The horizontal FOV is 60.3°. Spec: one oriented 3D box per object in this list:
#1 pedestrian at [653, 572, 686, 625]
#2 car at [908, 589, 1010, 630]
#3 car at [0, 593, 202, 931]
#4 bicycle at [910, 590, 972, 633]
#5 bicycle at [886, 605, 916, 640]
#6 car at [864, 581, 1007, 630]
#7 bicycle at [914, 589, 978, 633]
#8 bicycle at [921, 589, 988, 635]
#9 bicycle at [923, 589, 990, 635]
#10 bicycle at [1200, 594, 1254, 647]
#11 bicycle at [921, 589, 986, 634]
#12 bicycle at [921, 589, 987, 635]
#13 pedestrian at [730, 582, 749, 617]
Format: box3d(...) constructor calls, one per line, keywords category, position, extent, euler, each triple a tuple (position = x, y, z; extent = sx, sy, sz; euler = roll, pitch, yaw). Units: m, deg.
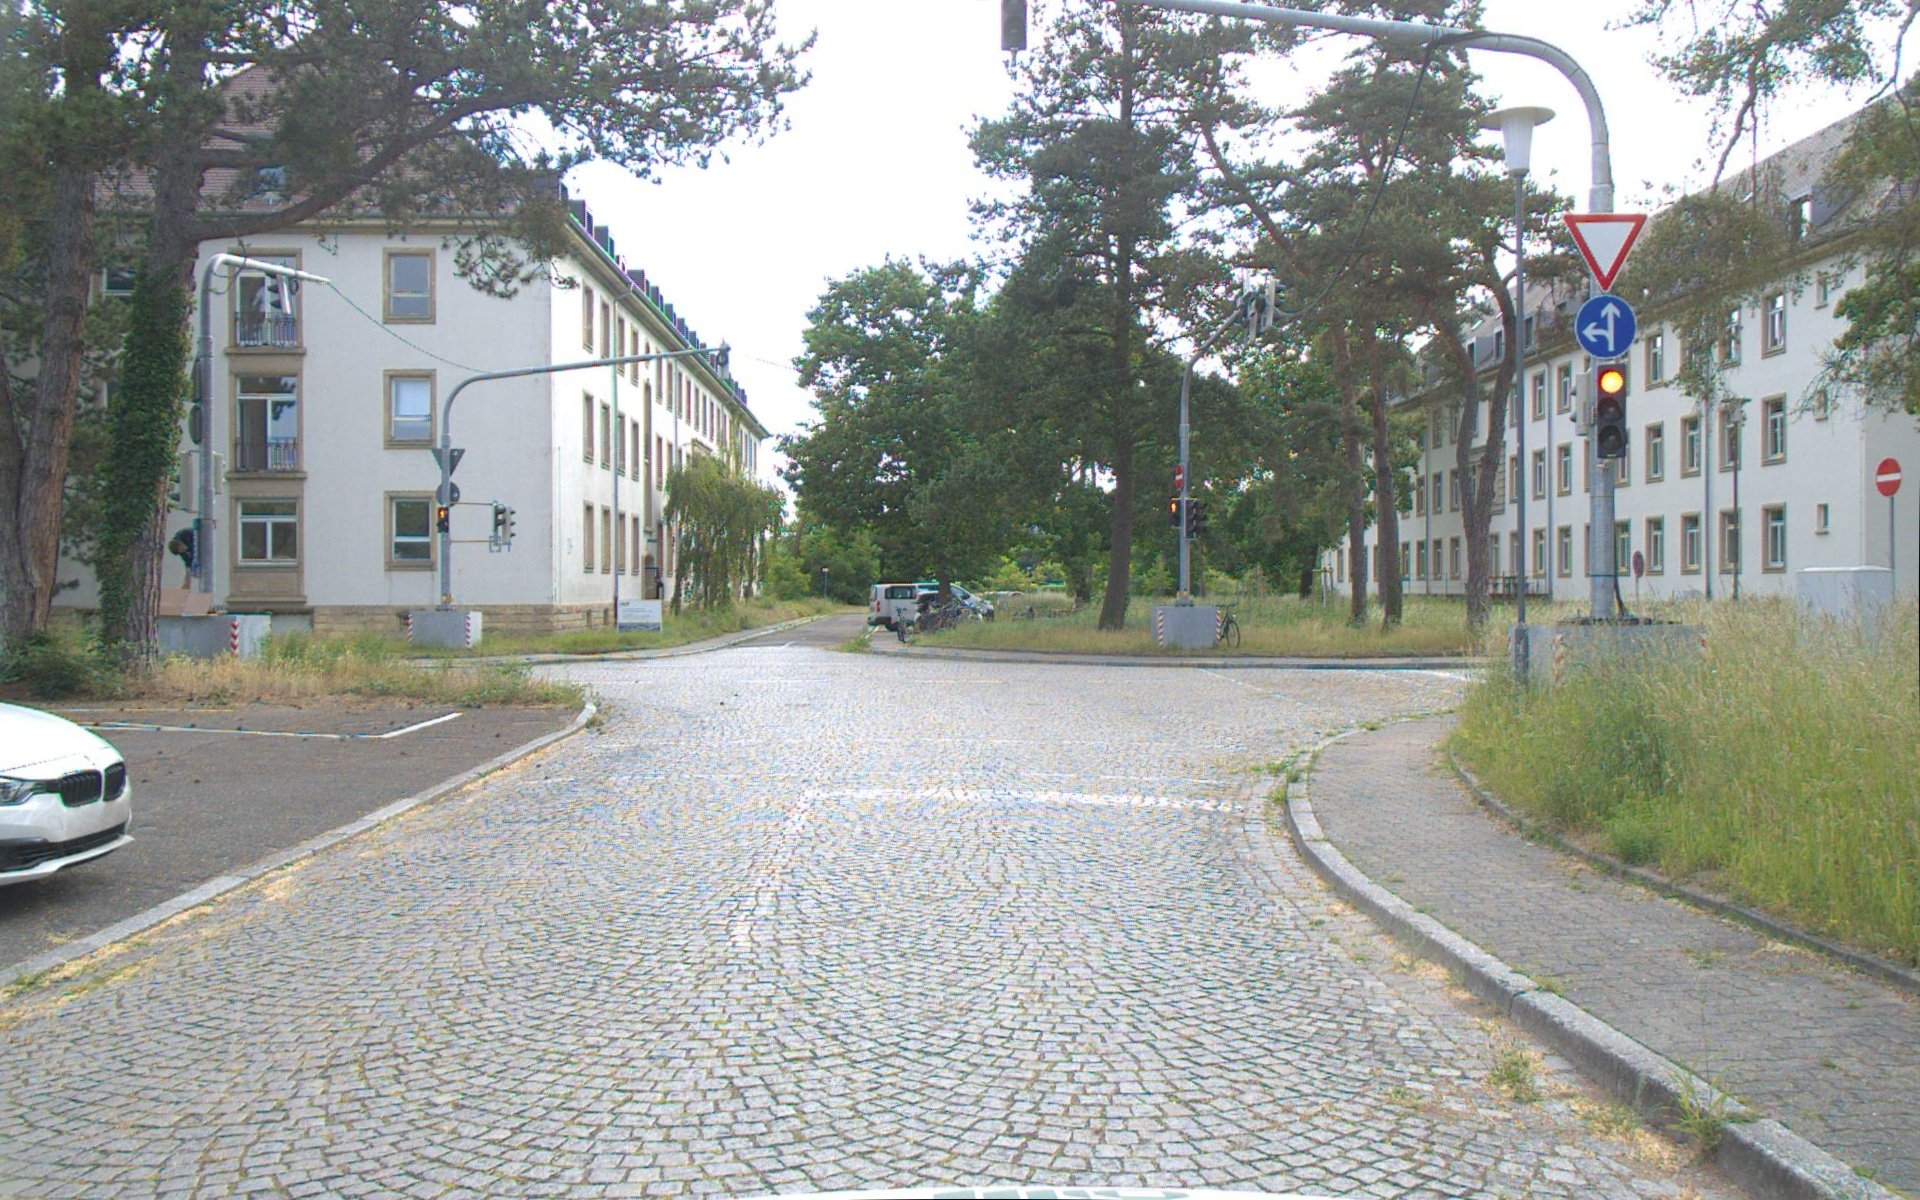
box3d(category="pedestrian", position=(-11.530, -0.059, 65.565), extent=(1.064, 2.049, 1.022), euler=(0, 0, 4))
box3d(category="car", position=(-0.063, 0.369, 64.888), extent=(3.857, 1.571, 1.997), euler=(0, 0, -6))
box3d(category="car", position=(-6.430, 0.657, 8.070), extent=(4.557, 1.469, 1.800), euler=(2, 0, -5))
box3d(category="bicycle", position=(-0.621, 0.363, 54.728), extent=(2.028, 1.402, 0.620), euler=(0, 0, -1))
box3d(category="bicycle", position=(-1.729, 0.660, 48.525), extent=(0.605, 0.980, 2.078), euler=(0, 0, 5))
box3d(category="car", position=(-1.025, 0.208, 68.233), extent=(5.595, 1.944, 2.222), euler=(0, 0, -14))
box3d(category="bicycle", position=(-0.449, 0.362, 53.247), extent=(2.028, 1.402, 0.620), euler=(0, 0, -1))
box3d(category="bicycle", position=(-0.174, 0.365, 51.034), extent=(2.028, 1.402, 0.620), euler=(0, 0, -1))
box3d(category="bicycle", position=(-0.114, 0.365, 50.365), extent=(2.028, 1.402, 0.620), euler=(0, 0, -1))
box3d(category="bicycle", position=(6.160, 0.456, 38.258), extent=(0.890, 1.197, 1.873), euler=(0, 0, -2))
box3d(category="bicycle", position=(-0.206, 0.368, 52.455), extent=(2.028, 1.402, 0.620), euler=(0, 0, -1))
box3d(category="bicycle", position=(-0.194, 0.366, 51.658), extent=(2.028, 1.402, 0.620), euler=(0, 0, -1))
box3d(category="pedestrian", position=(-12.969, -0.028, 97.388), extent=(0.938, 2.049, 0.796), euler=(0, 0, 8))
